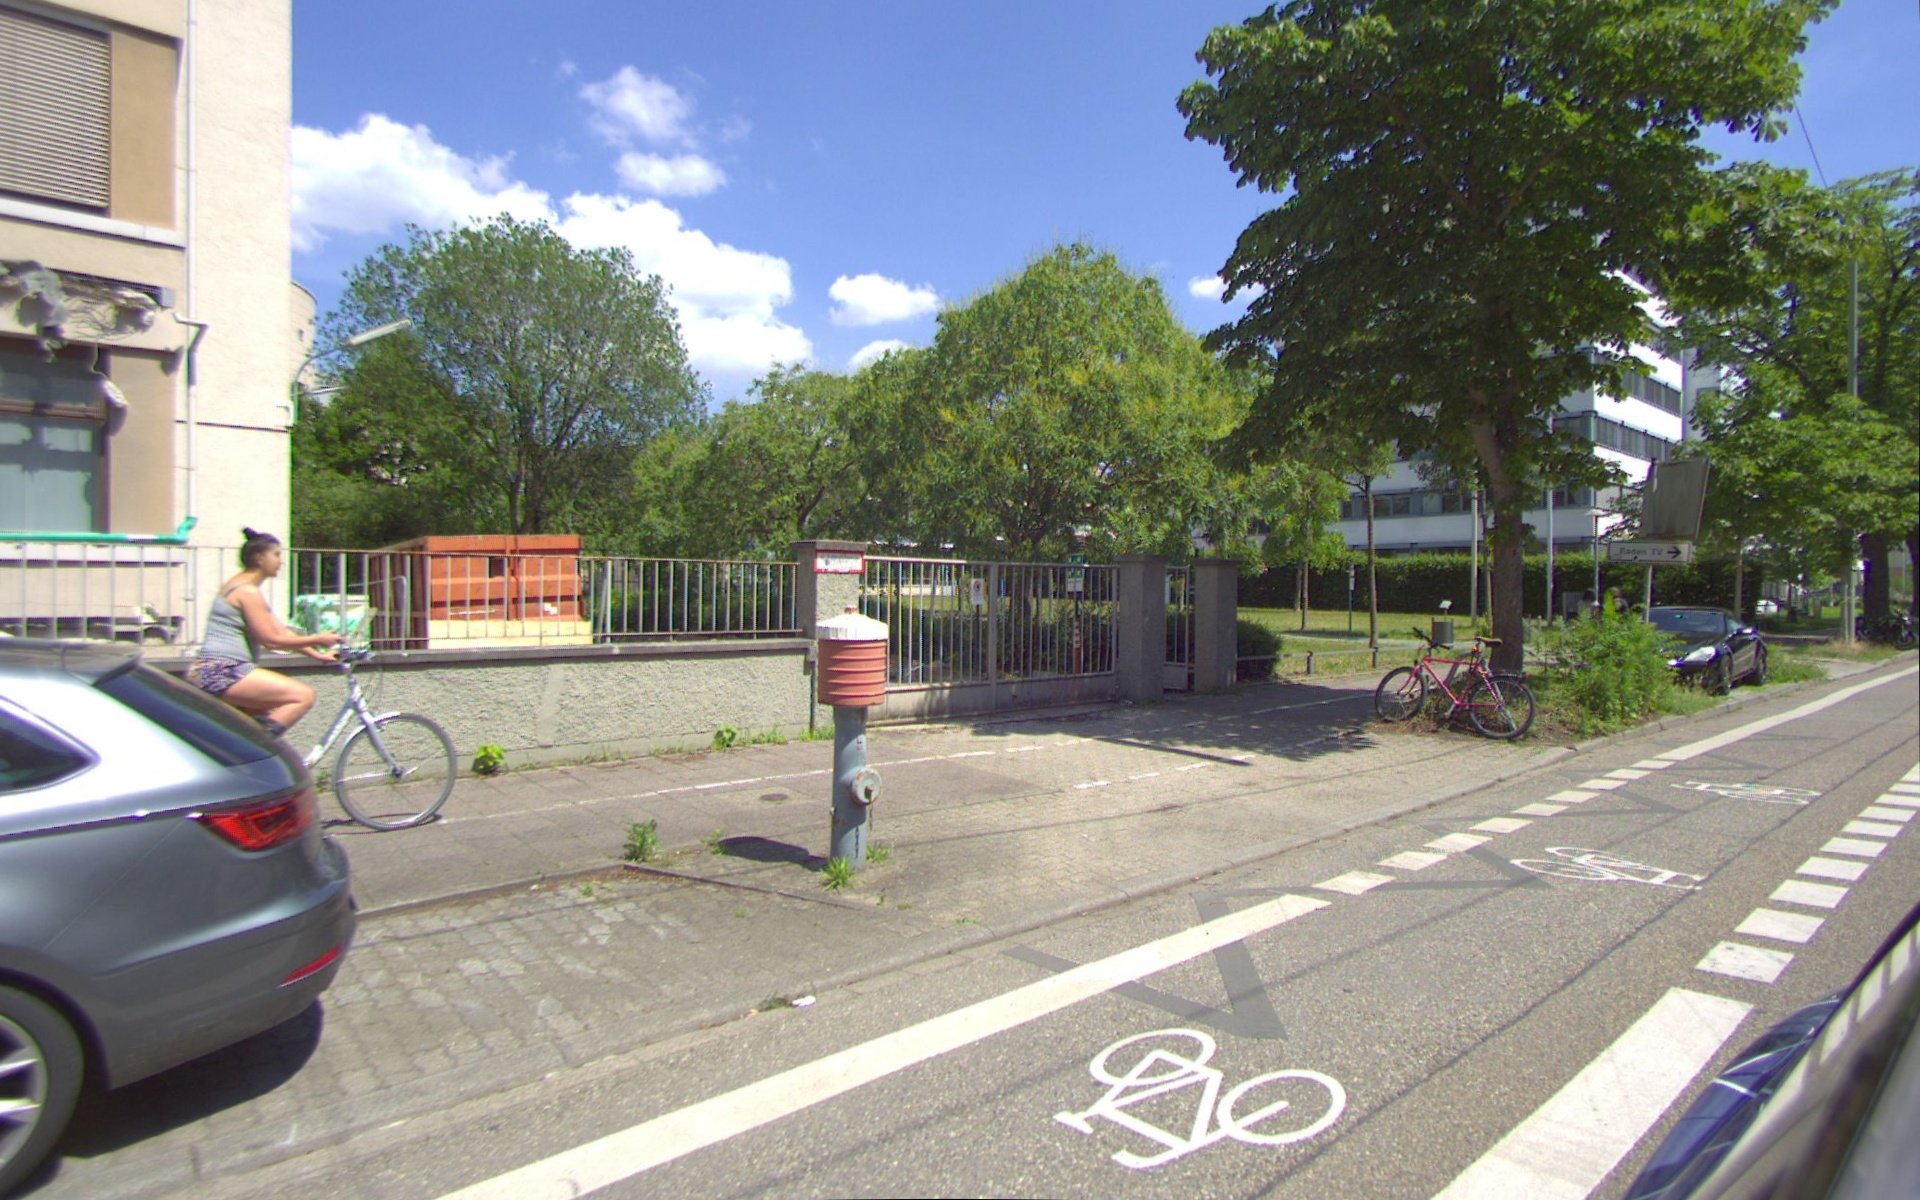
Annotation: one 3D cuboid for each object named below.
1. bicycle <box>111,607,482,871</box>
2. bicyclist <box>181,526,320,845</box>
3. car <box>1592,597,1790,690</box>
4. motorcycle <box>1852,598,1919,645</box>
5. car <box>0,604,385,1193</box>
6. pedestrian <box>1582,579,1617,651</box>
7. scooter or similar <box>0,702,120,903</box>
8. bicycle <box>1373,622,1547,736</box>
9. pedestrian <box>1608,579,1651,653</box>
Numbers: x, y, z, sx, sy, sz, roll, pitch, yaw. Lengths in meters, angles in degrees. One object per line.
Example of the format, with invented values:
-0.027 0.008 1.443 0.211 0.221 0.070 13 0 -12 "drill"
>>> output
-3.792 0.707 5.879 1.743 1.281 0.556 -1 3 -41 "bicycle"
-4.000 0.434 5.700 0.589 1.668 0.581 0 2 -41 "bicyclist"
11.867 0.631 16.360 3.766 1.287 1.754 -1 -1 -41 "car"
26.639 0.592 28.819 0.601 1.228 2.063 -1 1 -2 "motorcycle"
-4.029 0.761 2.143 4.667 1.426 1.674 -1 1 -42 "car"
14.488 0.334 22.923 0.535 1.593 0.514 0 2 -40 "pedestrian"
-4.989 0.997 4.807 1.528 0.817 0.763 -1 3 -41 "scooter or similar"
5.328 0.804 10.853 0.552 1.073 1.588 0 1 -41 "bicycle"
14.872 0.345 22.486 0.600 1.593 0.620 0 2 -40 "pedestrian"
